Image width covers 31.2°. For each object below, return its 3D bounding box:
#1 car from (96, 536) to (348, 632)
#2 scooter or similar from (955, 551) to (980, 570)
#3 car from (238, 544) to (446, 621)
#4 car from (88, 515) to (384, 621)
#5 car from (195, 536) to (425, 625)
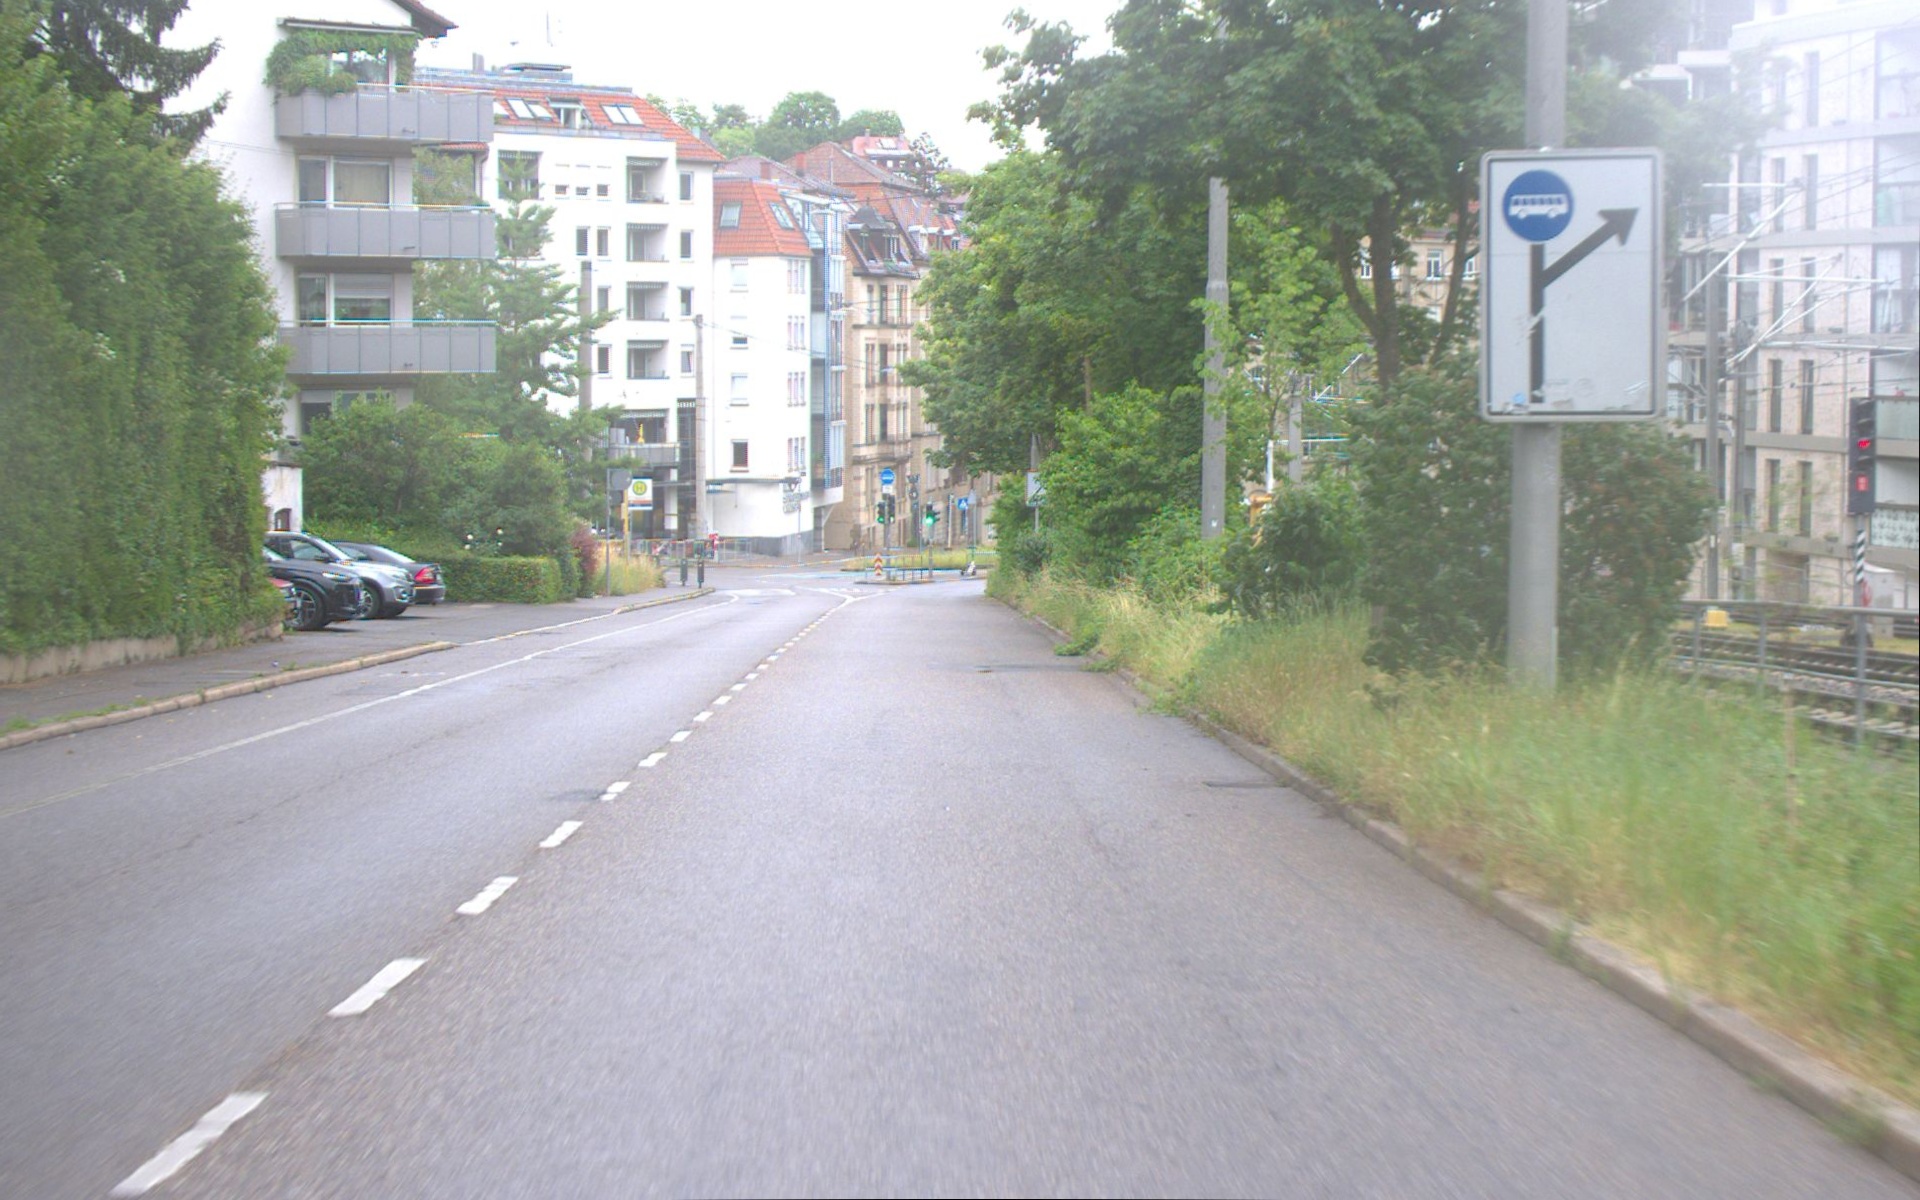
[{"bbox_3d":[-11.343,-0.252,53.019,3.630,1.400,1.717,1,0,-7],"label":"car"},{"bbox_3d":[0.313,-1.622,139.725,0.485,0.759,1.328,0,1,27],"label":"scooter or similar"},{"bbox_3d":[-11.814,-0.330,65.891,3.631,1.402,1.783,1,0,1],"label":"car"},{"bbox_3d":[-11.713,-0.528,55.812,4.449,1.597,1.814,1,2,-1],"label":"car"},{"bbox_3d":[-11.974,-0.357,63.564,3.986,1.554,1.880,1,0,-5],"label":"car"}]
